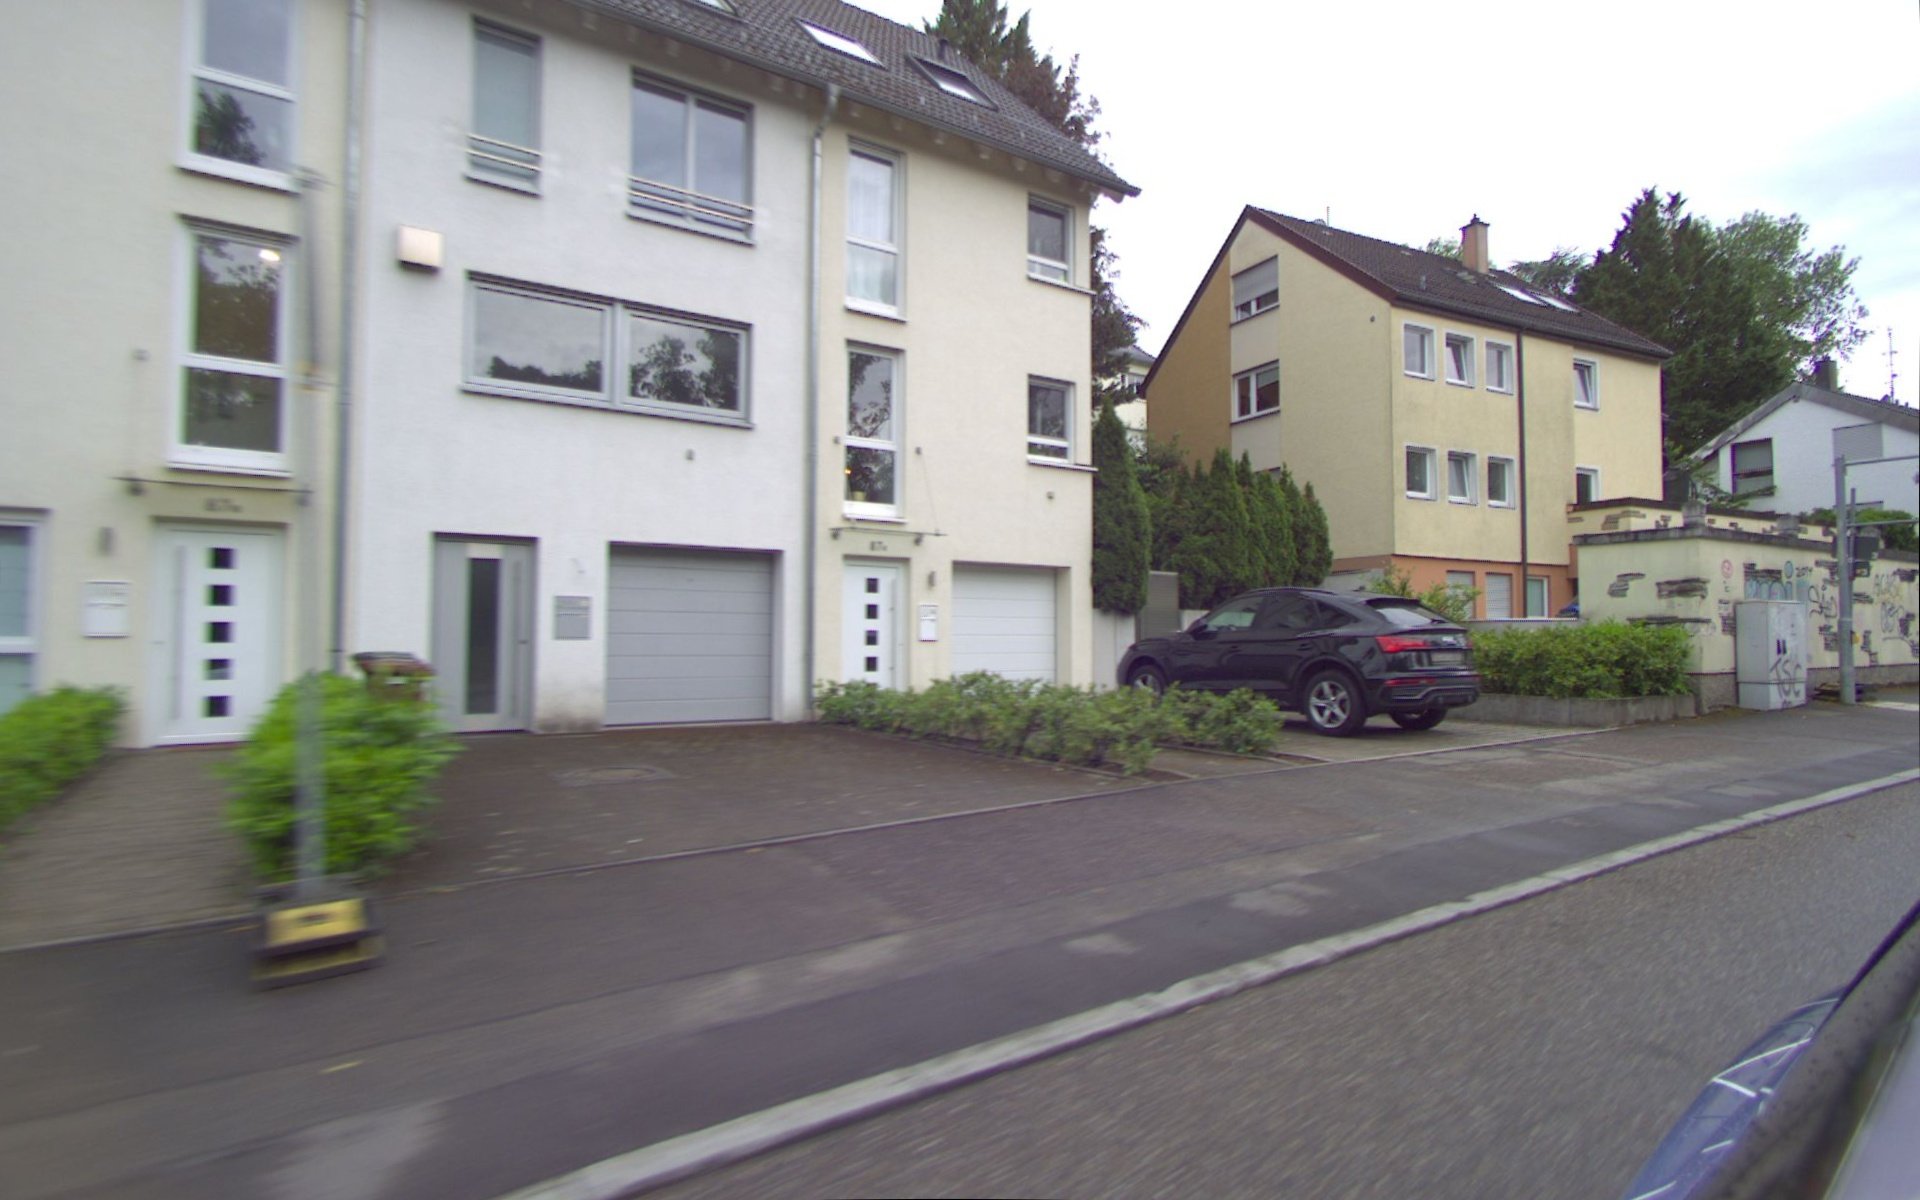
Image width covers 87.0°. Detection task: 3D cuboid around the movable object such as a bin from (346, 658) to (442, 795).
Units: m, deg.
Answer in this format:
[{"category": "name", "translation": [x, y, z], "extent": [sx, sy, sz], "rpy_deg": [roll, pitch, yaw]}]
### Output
[{"category": "movable object such as a bin", "translation": [-4.344, 0.942, 7.763], "extent": [0.584, 0.953, 0.508], "rpy_deg": [0, -1, -36]}]

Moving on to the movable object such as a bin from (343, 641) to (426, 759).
[{"category": "movable object such as a bin", "translation": [-5.105, 0.865, 8.968], "extent": [0.584, 0.967, 0.508], "rpy_deg": [0, -1, -36]}]

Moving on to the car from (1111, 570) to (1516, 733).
[{"category": "car", "translation": [4.092, 0.622, 12.442], "extent": [1.954, 1.617, 4.340], "rpy_deg": [0, -3, -34]}]

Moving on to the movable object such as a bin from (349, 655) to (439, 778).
[{"category": "movable object such as a bin", "translation": [-4.655, 0.935, 8.323], "extent": [0.584, 0.923, 0.508], "rpy_deg": [0, -1, -36]}]

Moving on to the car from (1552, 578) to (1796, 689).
[{"category": "car", "translation": [11.904, 0.529, 16.798], "extent": [4.260, 1.617, 1.937], "rpy_deg": [0, -3, -36]}]
